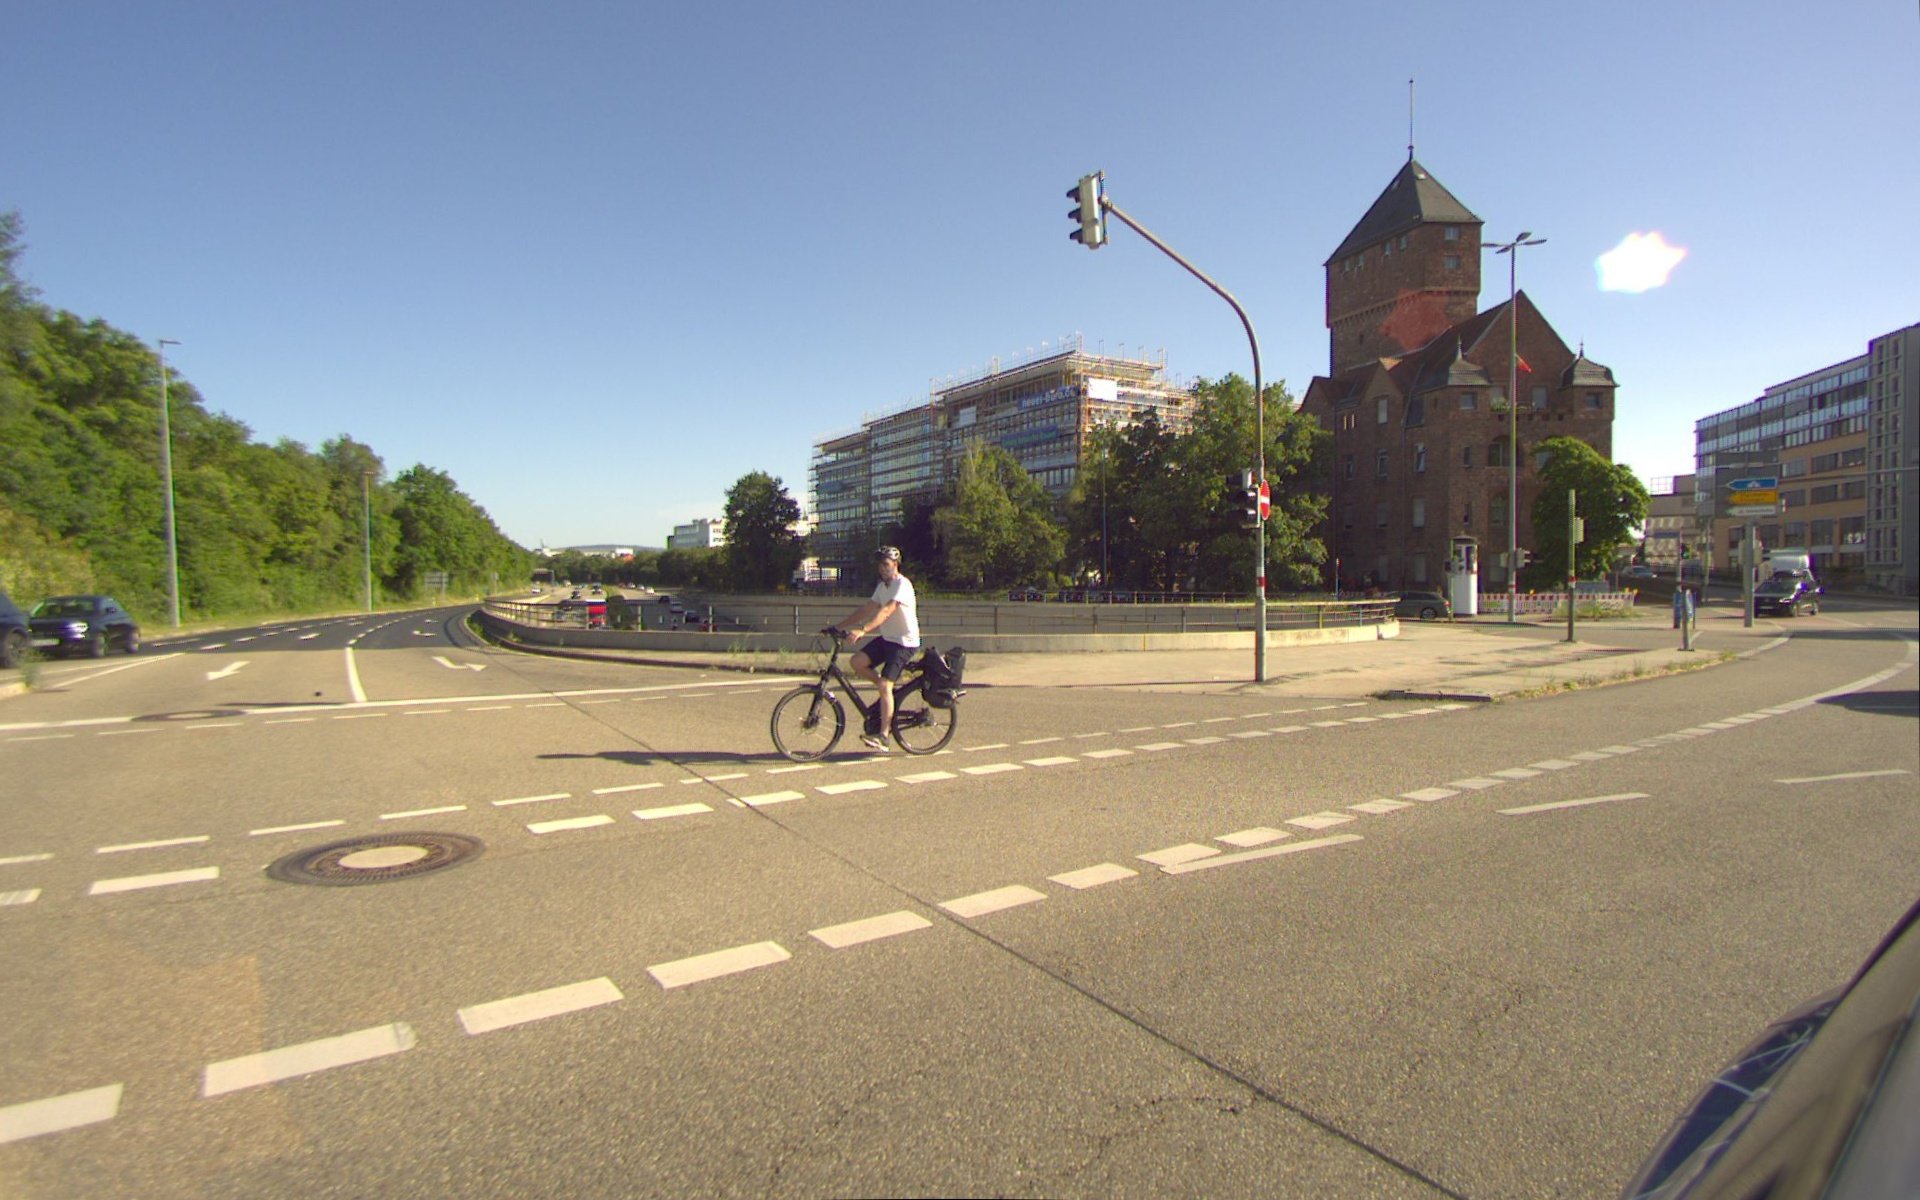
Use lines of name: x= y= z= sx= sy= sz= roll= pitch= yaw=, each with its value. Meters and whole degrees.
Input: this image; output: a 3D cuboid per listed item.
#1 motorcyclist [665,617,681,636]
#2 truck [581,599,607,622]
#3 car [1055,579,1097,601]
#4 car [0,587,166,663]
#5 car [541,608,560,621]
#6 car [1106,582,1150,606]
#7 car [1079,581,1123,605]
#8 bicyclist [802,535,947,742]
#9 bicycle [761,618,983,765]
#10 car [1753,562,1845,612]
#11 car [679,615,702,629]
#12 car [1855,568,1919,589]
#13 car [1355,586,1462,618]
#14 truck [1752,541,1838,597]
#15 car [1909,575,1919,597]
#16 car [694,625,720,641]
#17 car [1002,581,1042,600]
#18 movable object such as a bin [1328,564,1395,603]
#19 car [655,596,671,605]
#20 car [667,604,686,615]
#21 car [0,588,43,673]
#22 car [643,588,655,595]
motorcyclist: x=-31.867 y=2.910 z=112.334 sx=1.503 sy=2.039 sz=1.214 roll=0 pitch=0 yaw=-27
truck: x=-41.927 y=1.113 z=115.845 sx=2.240 sy=2.416 sz=5.394 roll=-3 pitch=2 yaw=-24
car: x=8.609 y=-0.745 z=74.606 sx=1.980 sy=1.581 sz=3.748 roll=0 pitch=1 yaw=26
car: x=-21.326 y=0.513 z=24.776 sx=1.822 sy=1.636 sz=4.687 roll=-1 pitch=1 yaw=-23
car: x=-51.497 y=1.841 z=127.264 sx=1.959 sy=1.415 sz=4.007 roll=-3 pitch=2 yaw=-25
car: x=11.378 y=-0.438 z=68.365 sx=1.980 sy=1.581 sz=3.748 roll=0 pitch=1 yaw=26
car: x=9.922 y=-0.512 z=71.028 sx=1.980 sy=1.581 sz=3.748 roll=0 pitch=1 yaw=26
bicyclist: x=-0.753 y=0.305 z=8.726 sx=1.089 sy=1.680 sz=0.728 roll=-1 pitch=0 yaw=-16
bicycle: x=-0.767 y=0.748 z=8.717 sx=1.788 sy=1.116 sz=0.695 roll=-1 pitch=0 yaw=-16
car: x=40.279 y=-0.638 z=48.560 sx=4.691 sy=2.290 sz=1.953 roll=-1 pitch=1 yaw=-31
car: x=-33.715 y=2.739 z=126.597 sx=1.959 sy=1.415 sz=4.007 roll=-3 pitch=2 yaw=-25
car: x=70.460 y=-1.667 z=76.996 sx=1.853 sy=1.542 sz=4.143 roll=0 pitch=1 yaw=15
car: x=21.615 y=0.068 z=48.994 sx=4.575 sy=1.489 sz=1.869 roll=0 pitch=1 yaw=19
truck: x=49.799 y=-1.834 z=60.542 sx=2.480 sy=3.167 sz=6.896 roll=0 pitch=1 yaw=27
car: x=67.705 y=-0.939 z=69.612 sx=1.613 sy=1.542 sz=4.146 roll=0 pitch=1 yaw=12
car: x=-27.855 y=3.624 z=111.220 sx=1.959 sy=1.415 sz=4.007 roll=-3 pitch=2 yaw=-25
car: x=5.020 y=-0.782 z=81.585 sx=1.980 sy=1.472 sz=3.748 roll=0 pitch=1 yaw=26
movable object such as a bin: x=26.182 y=-1.099 z=66.161 sx=1.958 sy=2.439 sz=4.009 roll=-1 pitch=1 yaw=-19
car: x=-50.460 y=0.114 z=171.722 sx=1.959 sy=1.415 sz=4.007 roll=-3 pitch=2 yaw=-25
car: x=-41.381 y=1.348 z=147.852 sx=1.959 sy=1.415 sz=4.007 roll=-3 pitch=2 yaw=-25
car: x=-19.213 y=0.627 z=18.581 sx=1.822 sy=1.636 sz=4.688 roll=0 pitch=1 yaw=-19
car: x=-70.432 y=-1.862 z=229.226 sx=1.959 sy=1.415 sz=4.007 roll=-3 pitch=2 yaw=-25
